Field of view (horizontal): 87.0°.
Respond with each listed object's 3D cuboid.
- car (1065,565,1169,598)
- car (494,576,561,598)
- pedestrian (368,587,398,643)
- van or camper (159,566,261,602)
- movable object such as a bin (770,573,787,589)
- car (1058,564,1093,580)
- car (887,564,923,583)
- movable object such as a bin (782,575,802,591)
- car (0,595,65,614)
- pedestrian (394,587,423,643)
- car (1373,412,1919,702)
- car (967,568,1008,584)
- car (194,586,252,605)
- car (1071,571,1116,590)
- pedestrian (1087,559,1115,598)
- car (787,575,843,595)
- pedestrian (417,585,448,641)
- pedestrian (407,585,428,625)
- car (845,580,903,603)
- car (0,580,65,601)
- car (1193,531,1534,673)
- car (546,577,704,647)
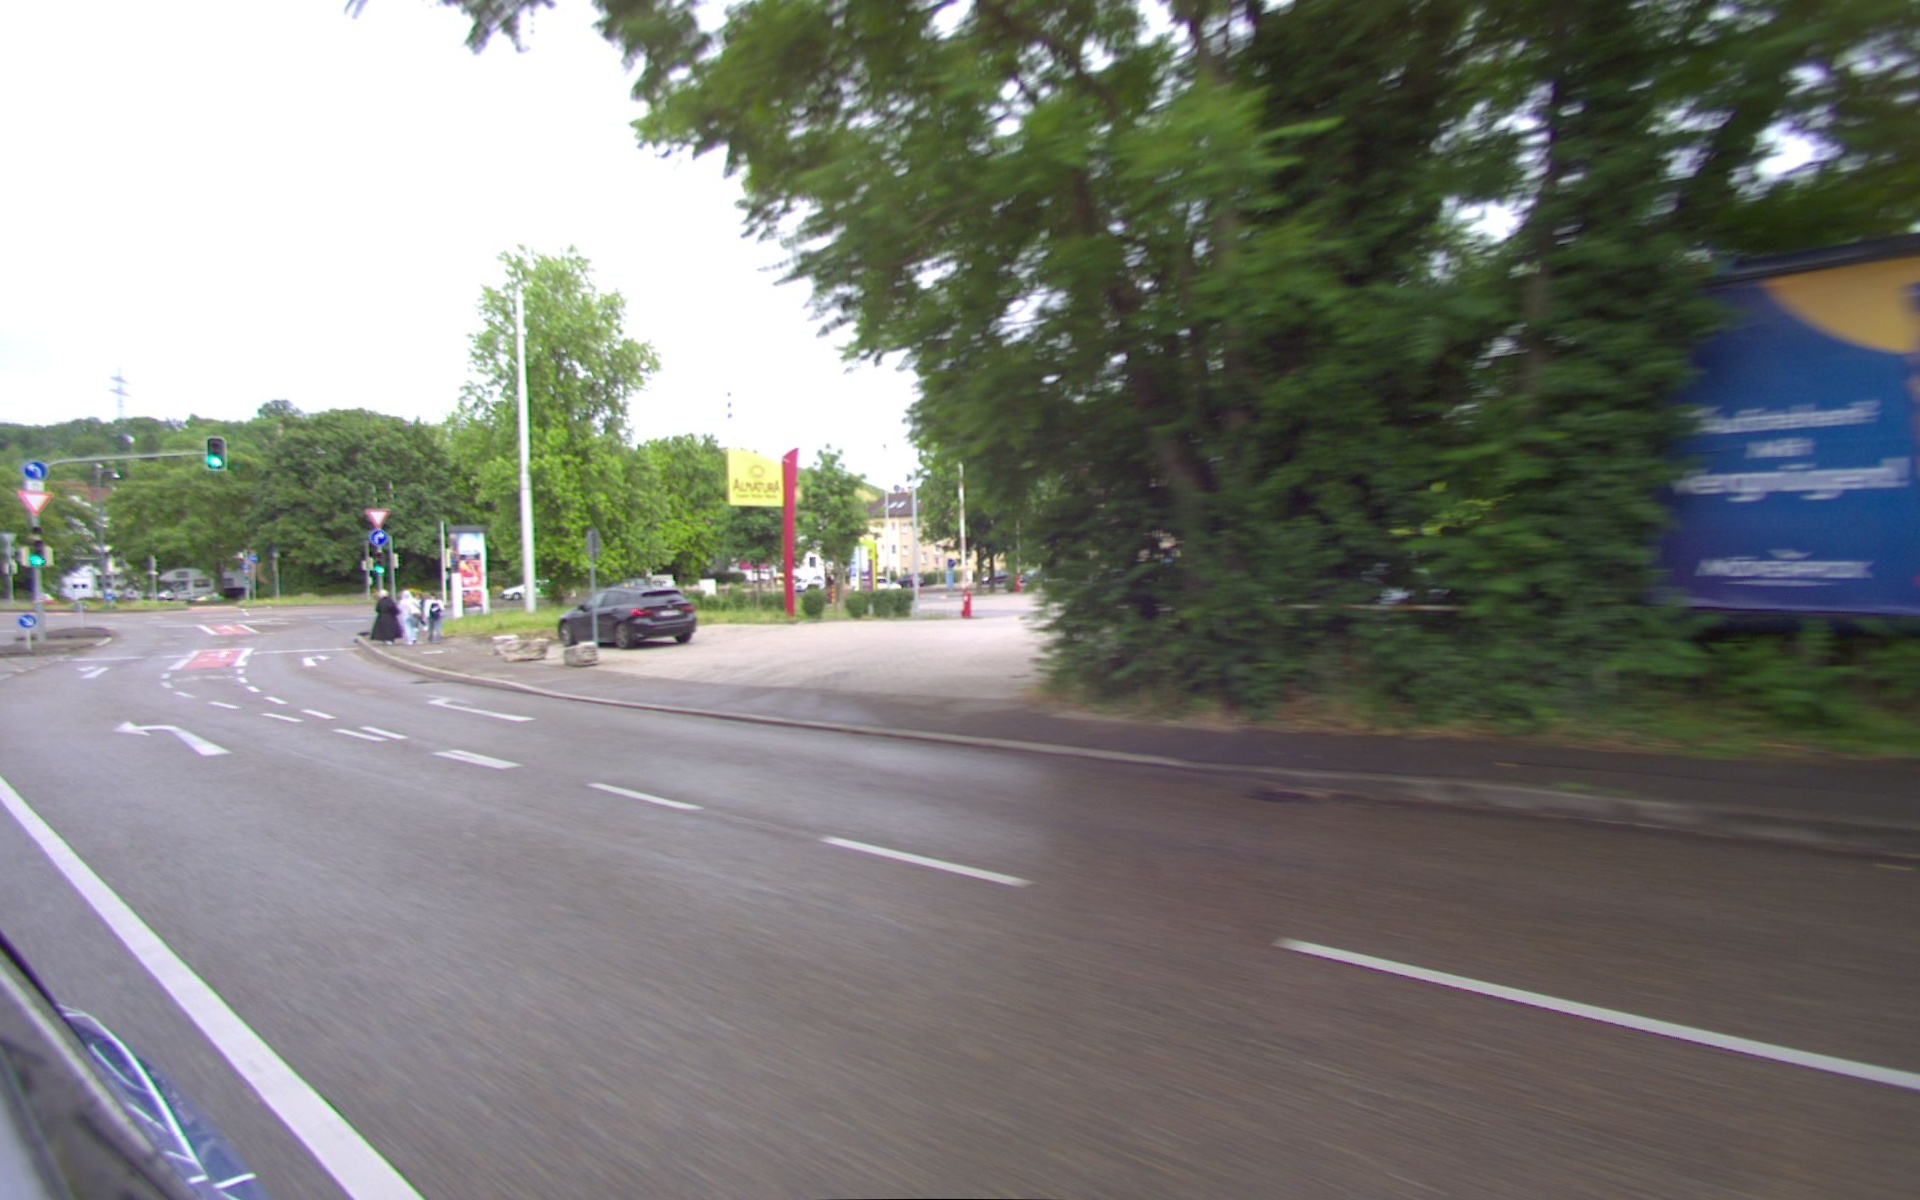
[{"bbox_3d":[6.992,-0.821,45.337,4.378,1.355,1.751,0,2,42],"label":"car"},{"bbox_3d":[-31.977,-0.973,74.916,4.135,1.460,1.892,-2,2,-41],"label":"car"},{"bbox_3d":[-17.419,0.442,30.563,0.647,1.614,0.679,-4,2,-34],"label":"pedestrian"},{"bbox_3d":[-60.524,-1.344,81.806,6.336,2.775,2.433,-2,2,-44],"label":"van or camper"},{"bbox_3d":[-17.533,-1.864,97.884,1.118,1.428,1.189,-5,2,-42],"label":"movable object such as a bin"},{"bbox_3d":[13.547,-3.265,118.568,4.035,1.640,1.846,-4,2,-40],"label":"car"},{"bbox_3d":[-6.071,-2.919,111.894,1.849,1.667,4.297,-5,1,-36],"label":"car"},{"bbox_3d":[-16.420,-1.637,98.881,1.281,1.428,1.317,-5,2,-42],"label":"movable object such as a bin"},{"bbox_3d":[-70.718,0.327,76.842,1.679,1.364,3.943,1,2,43],"label":"car"},{"bbox_3d":[-16.511,0.449,30.314,0.597,1.614,0.679,-4,2,-34],"label":"pedestrian"},{"bbox_3d":[7.576,-0.420,10.687,5.549,2.551,2.105,-3,2,13],"label":"car"},{"bbox_3d":[3.020,-2.641,109.831,4.370,1.545,1.846,-3,1,-41],"label":"car"},{"bbox_3d":[-58.229,-0.373,80.003,1.679,1.364,3.423,1,2,43],"label":"car"},{"bbox_3d":[11.649,-1.713,88.254,4.362,1.447,1.593,-3,4,-44],"label":"car"},{"bbox_3d":[6.125,-0.940,43.995,0.747,1.608,0.805,-5,2,-40],"label":"pedestrian"},{"bbox_3d":[-12.063,-1.257,84.299,4.136,1.435,1.892,-5,2,-40],"label":"car"},{"bbox_3d":[-15.928,0.388,30.569,0.647,1.614,0.679,-4,2,-34],"label":"pedestrian"},{"bbox_3d":[-21.821,0.202,40.727,0.583,1.543,0.670,-4,2,-33],"label":"pedestrian"},{"bbox_3d":[-6.122,-0.634,72.414,3.937,1.493,1.695,-1,2,-40],"label":"car"},{"bbox_3d":[-72.141,-0.770,78.512,1.679,1.560,3.943,1,2,43],"label":"car"},{"bbox_3d":[5.546,-0.033,13.964,4.055,1.554,2.007,-4,2,-22],"label":"car"},{"bbox_3d":[-8.183,0.265,24.553,4.234,1.459,1.728,0,4,43],"label":"car"}]
